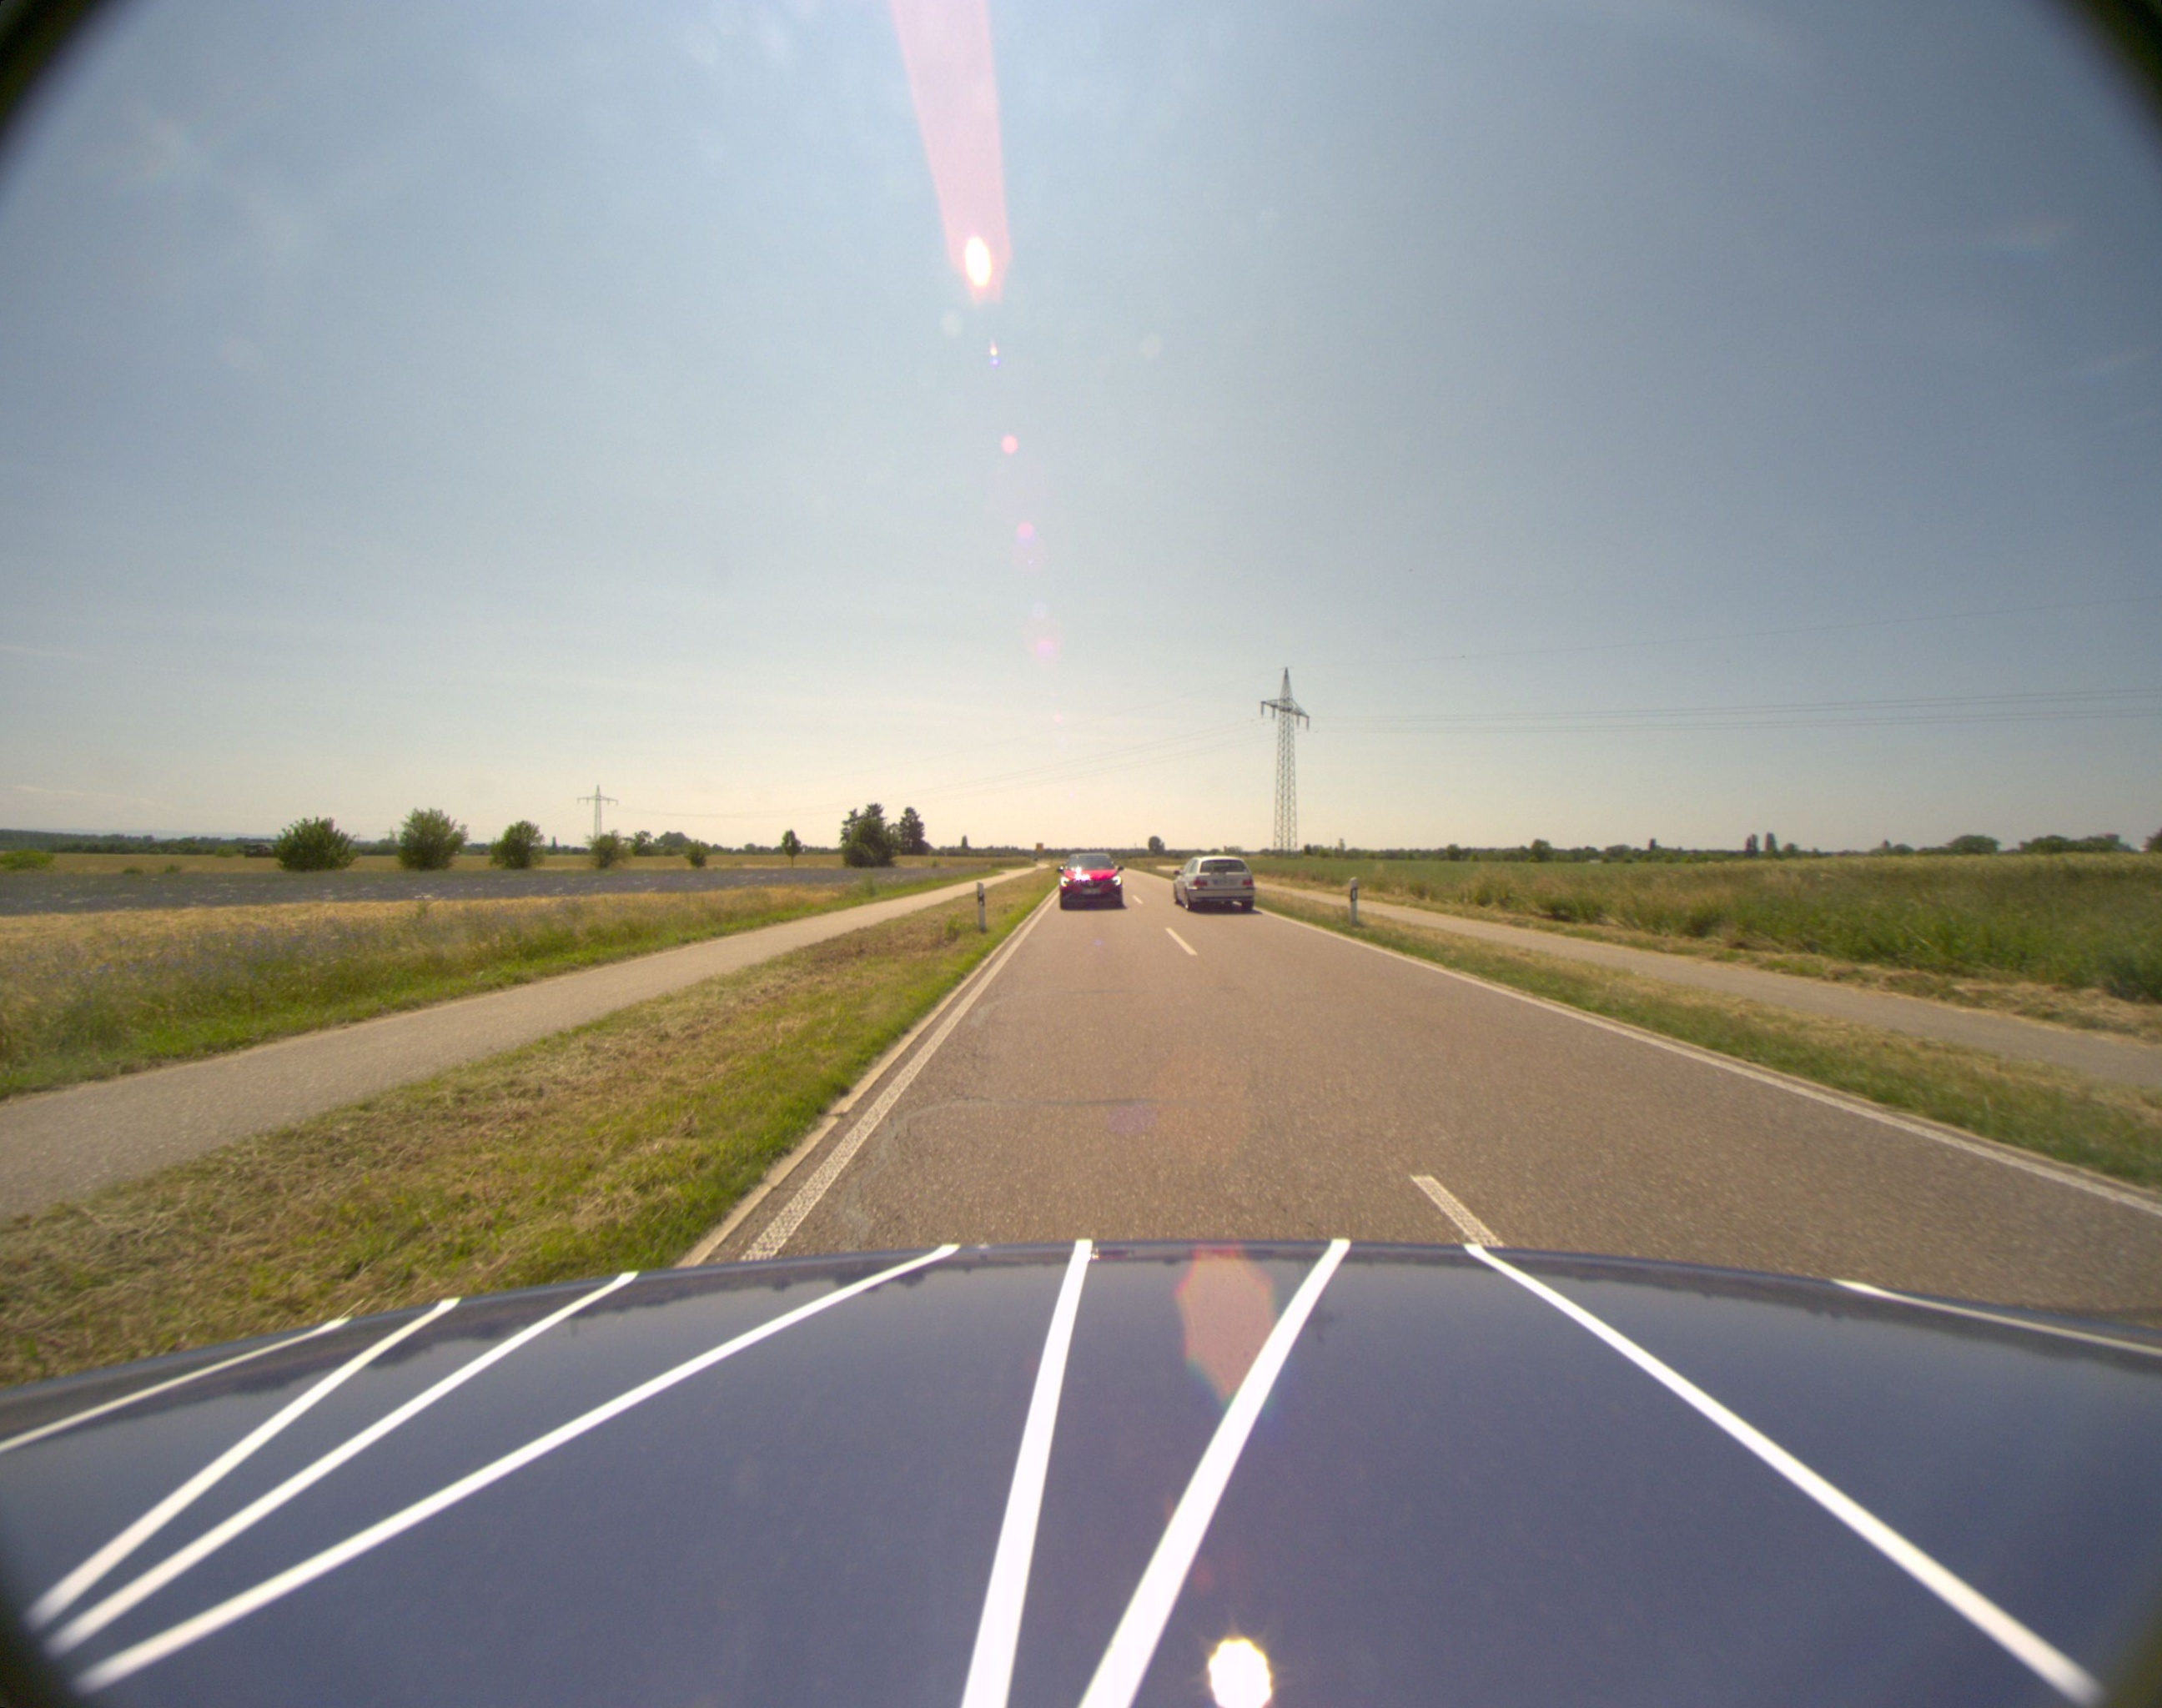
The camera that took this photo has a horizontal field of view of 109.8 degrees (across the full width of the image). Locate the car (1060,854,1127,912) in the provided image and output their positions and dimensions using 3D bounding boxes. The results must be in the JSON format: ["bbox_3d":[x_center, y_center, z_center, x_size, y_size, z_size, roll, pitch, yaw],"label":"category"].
[{"bbox_3d":[0.289,0.803,23.249,1.827,1.543,4.448,-1,0,-2],"label":"car"}]

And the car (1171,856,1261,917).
[{"bbox_3d":[3.570,0.809,20.739,1.752,1.392,4.032,-1,1,1],"label":"car"}]
